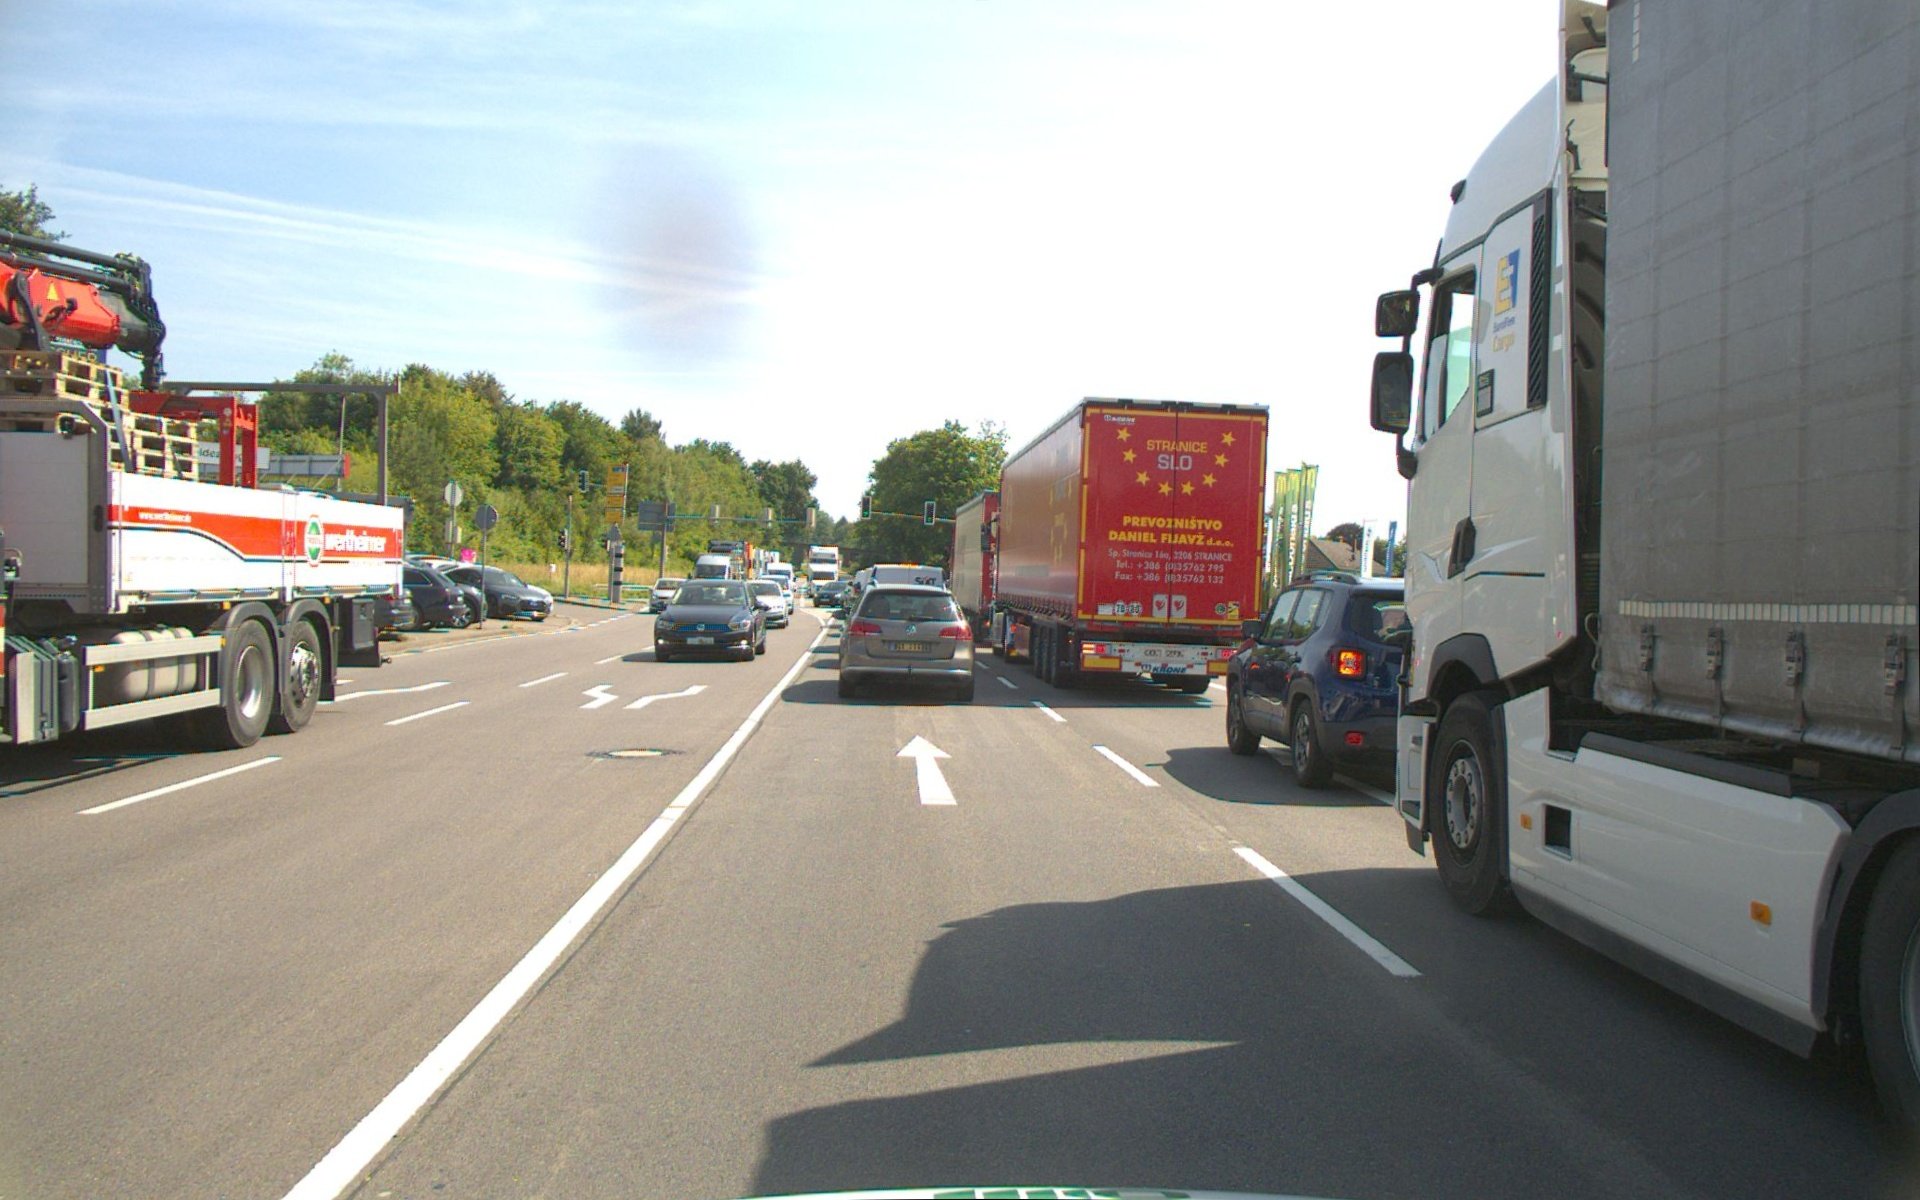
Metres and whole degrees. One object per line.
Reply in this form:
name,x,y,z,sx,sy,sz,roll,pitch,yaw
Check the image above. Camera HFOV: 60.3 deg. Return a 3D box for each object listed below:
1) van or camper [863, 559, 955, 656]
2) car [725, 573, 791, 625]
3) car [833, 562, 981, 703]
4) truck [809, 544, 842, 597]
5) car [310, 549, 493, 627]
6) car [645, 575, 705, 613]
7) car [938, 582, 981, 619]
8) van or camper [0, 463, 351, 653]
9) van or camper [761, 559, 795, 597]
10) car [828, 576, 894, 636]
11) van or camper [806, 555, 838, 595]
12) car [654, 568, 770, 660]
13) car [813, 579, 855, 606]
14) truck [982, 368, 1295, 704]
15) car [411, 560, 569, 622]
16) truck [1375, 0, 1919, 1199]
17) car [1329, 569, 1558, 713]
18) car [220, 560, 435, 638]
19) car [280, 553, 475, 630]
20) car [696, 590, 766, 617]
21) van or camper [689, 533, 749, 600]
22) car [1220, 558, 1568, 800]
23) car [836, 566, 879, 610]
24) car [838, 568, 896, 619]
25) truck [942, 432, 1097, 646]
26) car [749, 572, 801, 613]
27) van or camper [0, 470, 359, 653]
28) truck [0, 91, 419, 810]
van or camper,-1.169,0.132,36.150,1.816,1.939,3.782,3,0,-4
car,-6.435,-0.062,53.159,1.872,1.547,4.777,2,0,-5
car,-0.638,0.392,21.884,1.753,1.667,3.503,2,0,0
truck,-11.532,-2.517,142.406,2.502,4.382,7.591,1,1,-3
car,-13.320,-0.290,39.638,3.741,1.704,1.841,2,0,-4
car,-11.646,-0.260,67.793,1.799,1.473,4.080,2,0,-2
car,-0.026,0.028,75.360,1.693,1.545,3.310,3,0,-4
van or camper,-12.967,-0.669,26.964,5.140,2.779,2.210,2,0,-2
van or camper,-12.856,-1.549,116.997,2.130,2.595,4.168,3,0,-4
car,-2.717,0.164,46.031,1.692,1.545,3.311,3,0,-2
van or camper,-10.678,-1.913,128.109,2.180,2.890,5.707,3,0,-3
car,-4.638,0.219,31.473,1.770,1.587,4.384,1,1,-4
car,-6.873,-0.436,90.564,1.631,1.434,3.928,1,0,5
truck,2.492,-0.937,30.280,2.898,4.344,16.574,2,1,-3
car,-14.304,-0.288,50.291,4.429,1.722,2.128,2,0,30
truck,3.851,-0.641,0.789,2.831,4.340,16.707,2,0,-1
car,6.362,0.485,22.238,1.782,1.714,3.999,1,1,-2
car,-13.084,-0.027,34.376,3.741,1.473,1.841,2,0,-4
car,-13.057,-0.189,37.240,3.741,1.566,1.841,2,0,-4
car,-13.558,0.221,98.100,1.684,1.473,4.063,2,0,37
van or camper,-12.373,-1.684,85.359,2.164,3.108,5.900,6,0,-2
car,3.480,0.556,14.047,1.782,1.714,3.999,1,1,-2
car,-4.736,-0.547,76.981,1.691,1.942,3.312,3,0,0
car,-3.024,-0.193,54.430,1.692,1.545,3.311,3,0,-1
truck,1.433,-1.644,50.714,3.002,5.311,16.997,2,0,-3
car,-7.944,-0.341,71.429,1.871,1.692,4.179,1,0,-2
van or camper,-14.115,-0.693,29.630,5.775,2.923,2.288,2,1,-3
truck,-7.259,-0.926,12.858,2.896,4.282,10.643,0,1,-2
